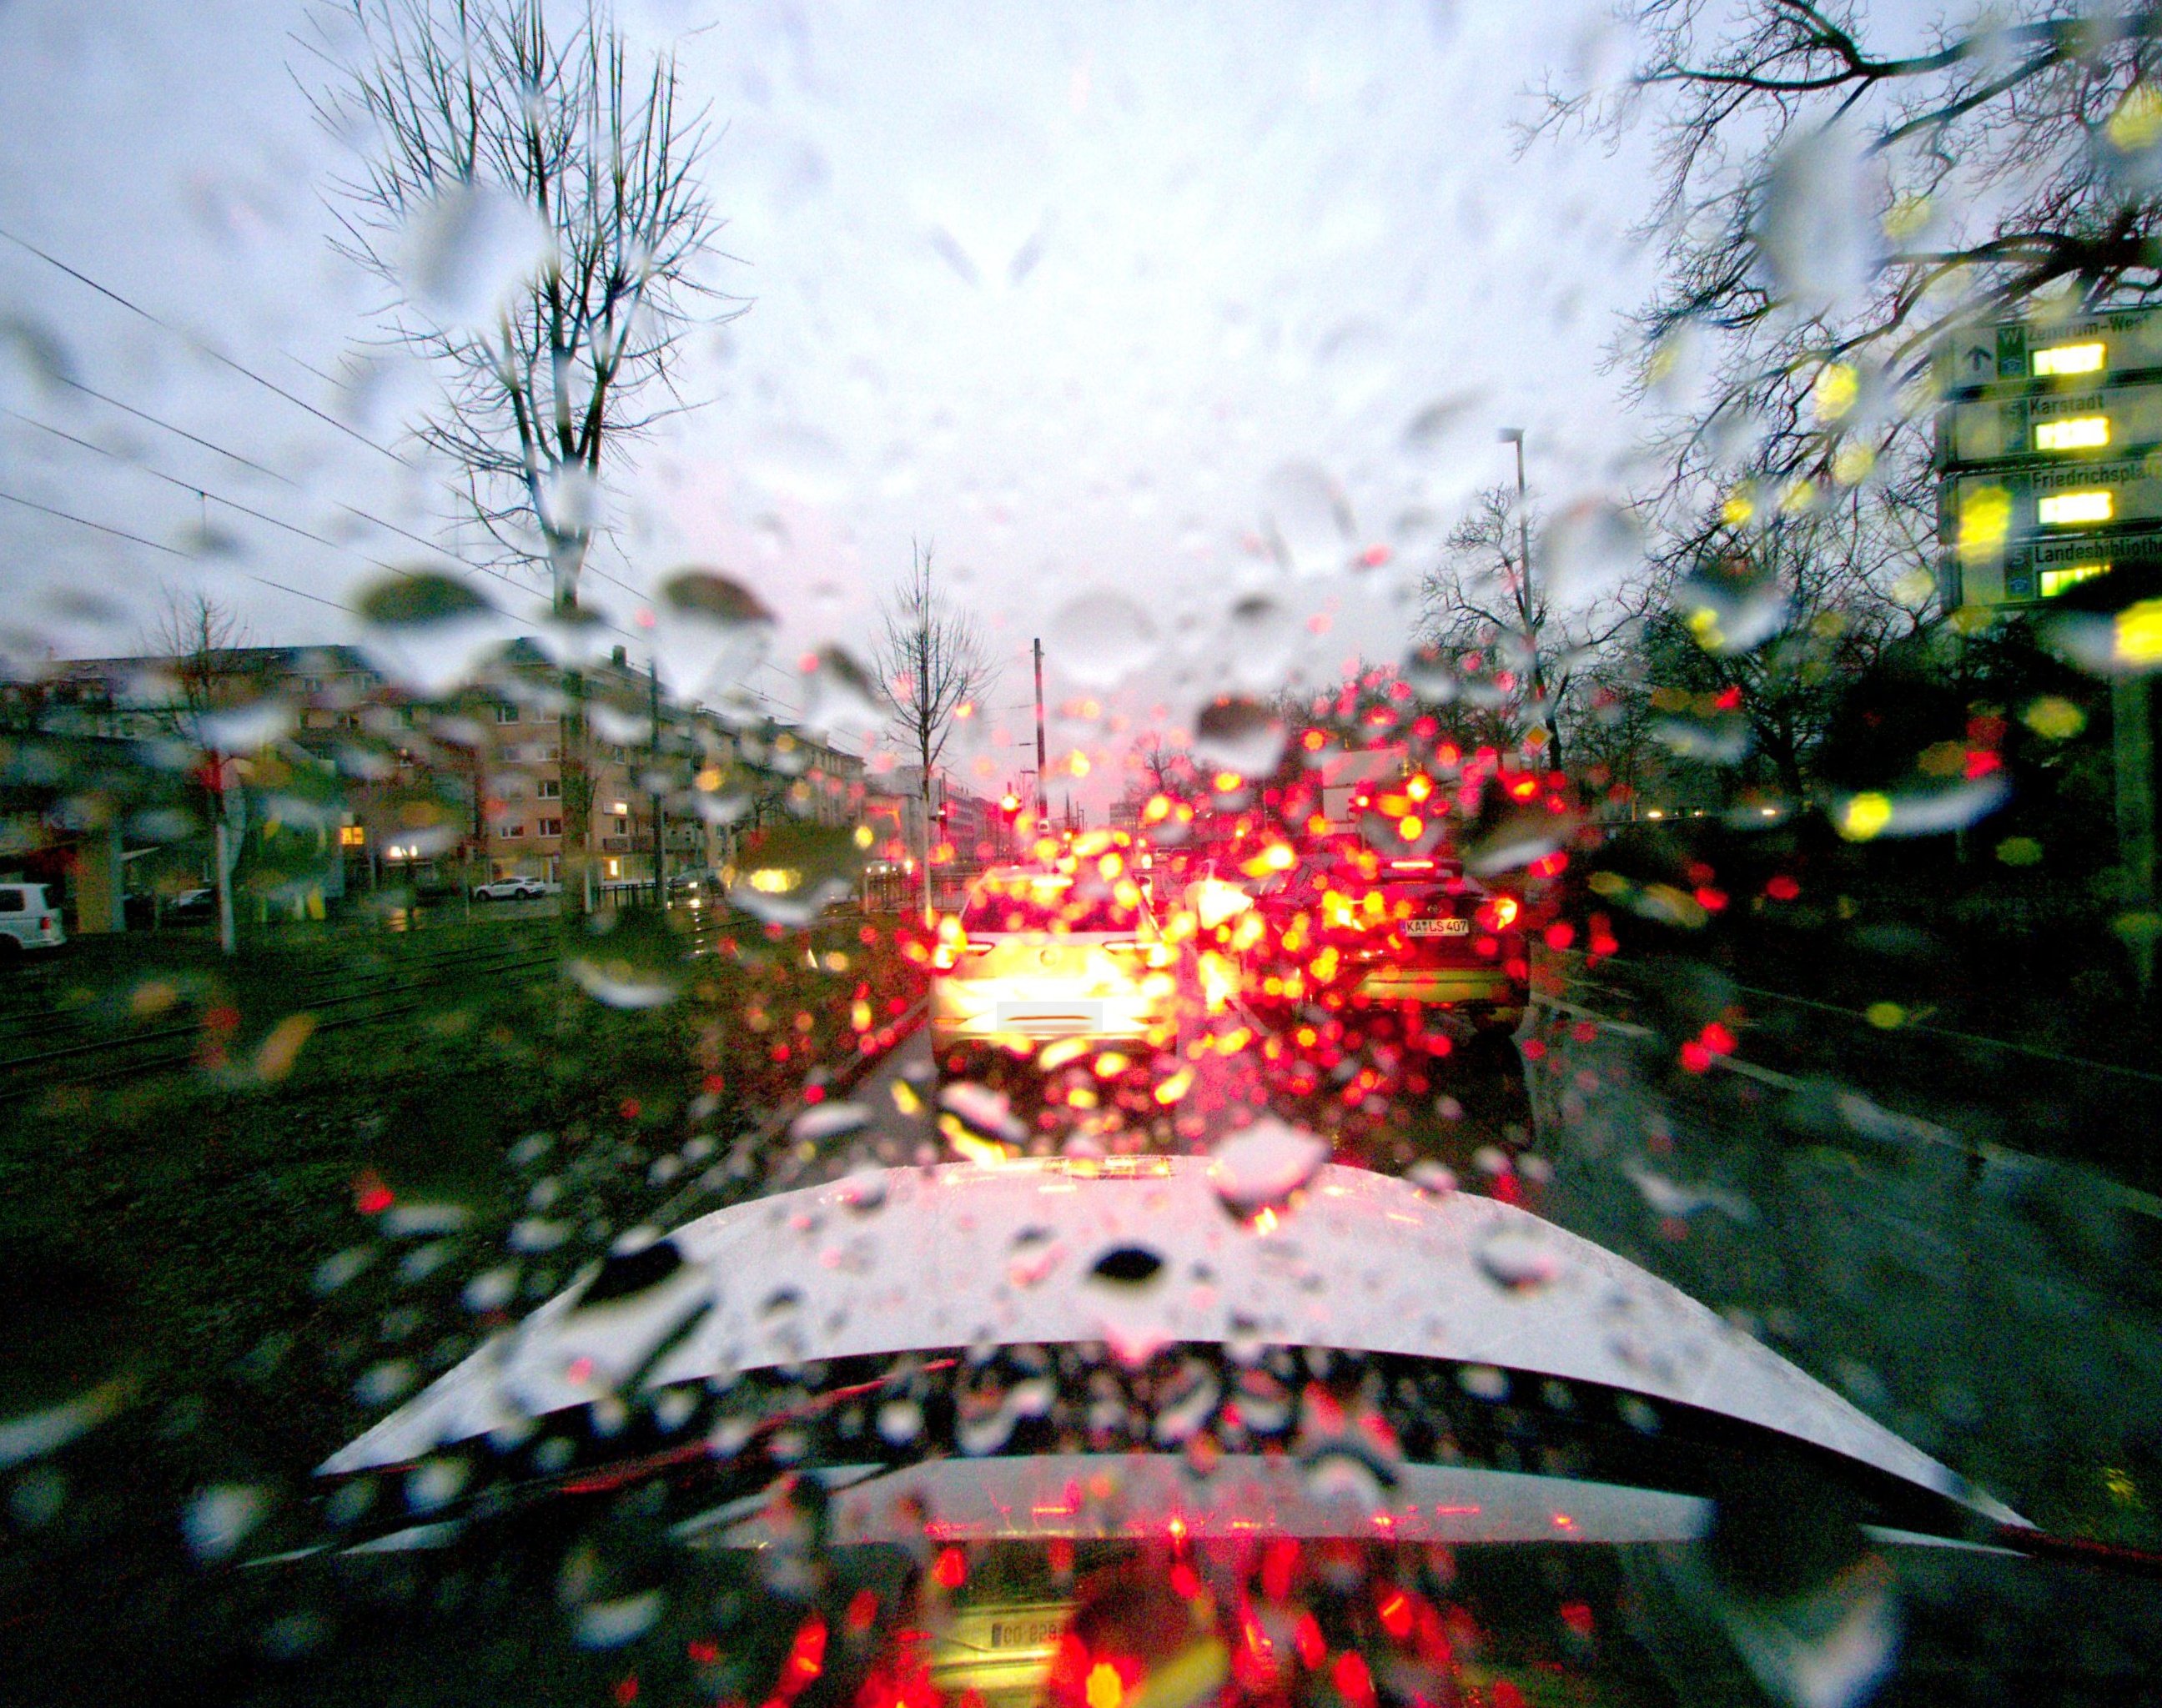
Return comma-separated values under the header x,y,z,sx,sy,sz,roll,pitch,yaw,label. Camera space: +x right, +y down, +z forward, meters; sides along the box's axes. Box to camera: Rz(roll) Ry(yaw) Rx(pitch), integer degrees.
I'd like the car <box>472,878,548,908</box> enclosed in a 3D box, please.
x,y,z,sx,sy,sz,roll,pitch,yaw,label
-38.546,2.620,55.024,3.743,1.942,1.838,0,0,-6,car

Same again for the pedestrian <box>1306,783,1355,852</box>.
x,y,z,sx,sy,sz,roll,pitch,yaw,label
7.542,-1.091,24.652,0.962,2.013,1.001,-2,0,-21,pedestrian

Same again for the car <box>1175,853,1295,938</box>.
x,y,z,sx,sy,sz,roll,pitch,yaw,label
2.814,0.709,15.600,1.738,1.433,3.733,0,0,2,car

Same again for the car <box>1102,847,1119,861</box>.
x,y,z,sx,sy,sz,roll,pitch,yaw,label
3.293,0.014,89.992,1.731,1.419,4.396,-2,0,2,car

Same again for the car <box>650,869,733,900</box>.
x,y,z,sx,sy,sz,roll,pitch,yaw,label
-18.902,1.456,39.788,1.852,1.332,4.317,0,0,2,car

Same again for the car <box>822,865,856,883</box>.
x,y,z,sx,sy,sz,roll,pitch,yaw,label
-19.253,1.611,65.034,1.688,1.277,4.142,-2,0,-4,car

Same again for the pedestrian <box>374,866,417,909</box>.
x,y,z,sx,sy,sz,roll,pitch,yaw,label
-33.675,1.618,40.033,1.274,2.013,1.000,-2,0,-22,pedestrian

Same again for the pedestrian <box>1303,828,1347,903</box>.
x,y,z,sx,sy,sz,roll,pitch,yaw,label
6.758,0.318,22.616,0.954,2.013,1.009,-2,0,6,pedestrian

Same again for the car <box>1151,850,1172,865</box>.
x,y,z,sx,sy,sz,roll,pitch,yaw,label
7.881,0.337,79.904,1.731,1.419,3.705,-2,0,2,car

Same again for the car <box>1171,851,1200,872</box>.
x,y,z,sx,sy,sz,roll,pitch,yaw,label
7.631,0.557,59.818,1.731,1.419,3.705,-2,0,2,car

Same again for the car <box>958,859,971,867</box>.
x,y,z,sx,sy,sz,roll,pitch,yaw,label
-22.649,1.748,158.609,1.942,1.602,4.002,0,0,2,car

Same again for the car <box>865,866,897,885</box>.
x,y,z,sx,sy,sz,roll,pitch,yaw,label
-18.805,2.025,76.767,1.860,1.577,4.002,-2,0,2,car

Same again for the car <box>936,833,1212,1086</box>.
x,y,z,sx,sy,sz,roll,pitch,yaw,label
-0.065,0.637,7.041,1.688,1.533,3.998,-1,0,-1,car

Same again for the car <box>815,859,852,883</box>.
x,y,z,sx,sy,sz,roll,pitch,yaw,label
-22.339,1.501,73.565,1.986,2.013,4.001,0,0,1,car

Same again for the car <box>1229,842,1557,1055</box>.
x,y,z,sx,sy,sz,roll,pitch,yaw,label
2.644,0.692,7.936,1.793,1.511,3.897,-2,0,2,car

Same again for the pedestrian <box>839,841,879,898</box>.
x,y,z,sx,sy,sz,roll,pitch,yaw,label
-8.080,0.555,29.608,1.013,2.013,0.950,-2,0,-41,pedestrian

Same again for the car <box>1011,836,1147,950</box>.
x,y,z,sx,sy,sz,roll,pitch,yaw,label
0.057,0.514,13.292,1.792,1.466,4.588,-2,0,2,car

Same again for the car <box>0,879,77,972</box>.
x,y,z,sx,sy,sz,roll,pitch,yaw,label
-28.602,1.811,19.919,4.859,2.244,1.975,0,0,-44,car

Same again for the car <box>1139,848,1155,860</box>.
x,y,z,sx,sy,sz,roll,pitch,yaw,label
8.102,0.023,100.711,1.731,1.419,4.148,-2,0,2,car

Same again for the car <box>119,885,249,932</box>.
x,y,z,sx,sy,sz,roll,pitch,yaw,label
-43.074,2.579,39.236,1.886,2.013,3.876,0,0,2,car

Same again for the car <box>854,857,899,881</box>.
x,y,z,sx,sy,sz,roll,pitch,yaw,label
-13.992,1.008,55.835,1.986,1.602,4.001,0,0,1,car

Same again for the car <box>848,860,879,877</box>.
x,y,z,sx,sy,sz,roll,pitch,yaw,label
-21.676,1.411,81.286,1.942,1.602,4.002,0,0,2,car
